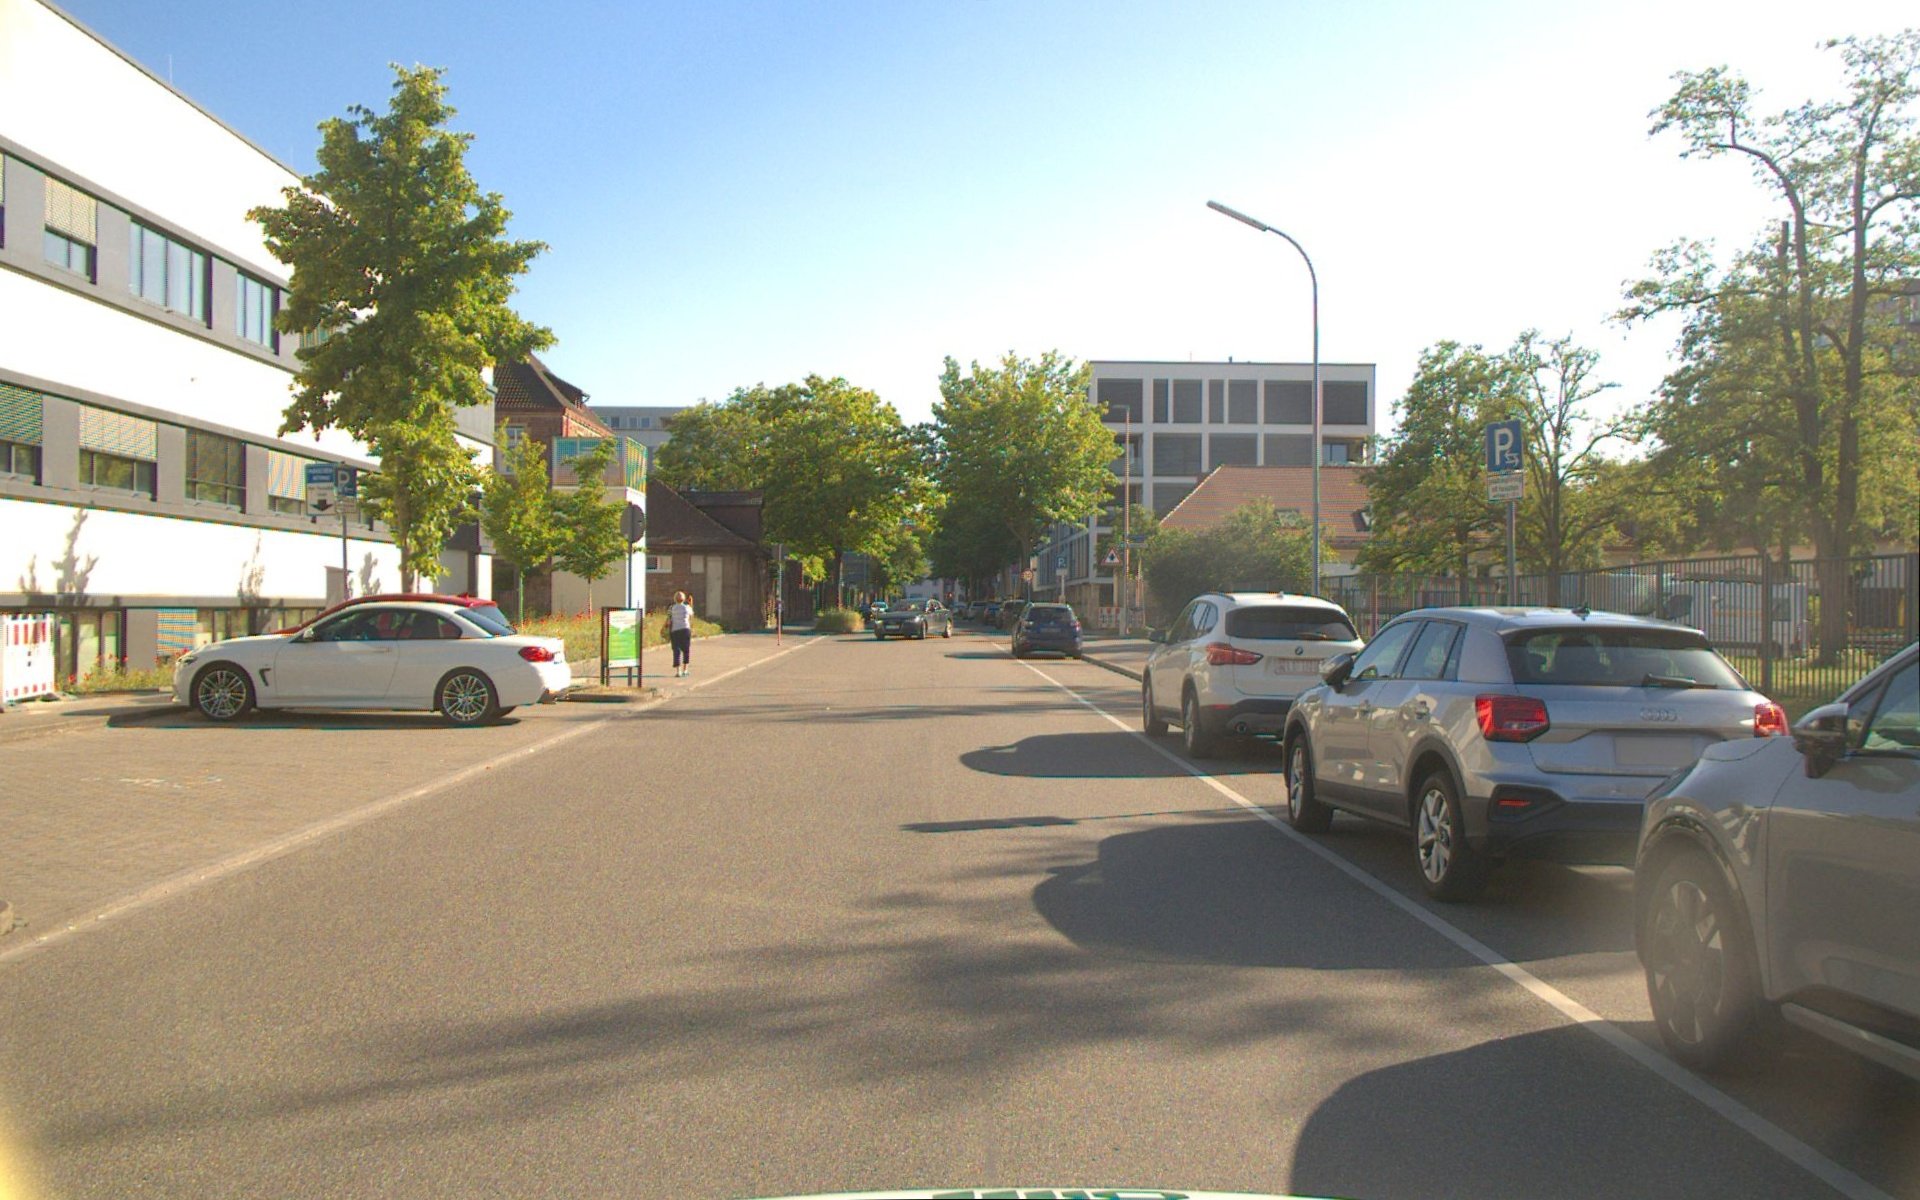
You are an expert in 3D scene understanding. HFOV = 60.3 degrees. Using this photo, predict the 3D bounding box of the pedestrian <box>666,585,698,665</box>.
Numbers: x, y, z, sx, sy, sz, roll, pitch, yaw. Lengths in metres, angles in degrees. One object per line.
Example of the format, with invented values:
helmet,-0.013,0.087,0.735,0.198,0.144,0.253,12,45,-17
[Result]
pedestrian,-5.485,0.485,32.655,0.527,1.550,0.607,0,0,0

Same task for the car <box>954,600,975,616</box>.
car,0.399,0.727,151.519,1.953,1.491,3.836,0,0,0

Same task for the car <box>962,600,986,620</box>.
car,1.165,0.817,135.437,1.910,1.606,3.836,0,0,0

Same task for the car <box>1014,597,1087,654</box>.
car,2.444,0.676,45.485,1.780,1.478,4.214,0,0,0

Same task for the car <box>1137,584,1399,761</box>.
car,3.119,0.674,17.644,1.777,1.616,4.259,2,0,-3

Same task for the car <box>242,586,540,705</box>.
car,-7.752,0.610,22.800,3.565,1.495,1.612,1,0,-6

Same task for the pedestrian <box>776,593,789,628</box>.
pedestrian,-8.162,0.497,76.188,0.511,1.590,1.095,0,0,-2

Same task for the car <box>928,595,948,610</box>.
car,-2.084,0.249,158.898,1.850,1.424,3.836,0,0,0

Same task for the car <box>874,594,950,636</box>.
car,-1.742,0.534,61.142,1.724,1.467,4.541,0,0,13

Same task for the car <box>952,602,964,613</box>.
car,-0.237,0.945,216.479,1.553,1.424,3.836,0,0,0

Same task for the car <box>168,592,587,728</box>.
car,-6.893,0.700,19.959,4.425,1.391,1.697,3,0,-6

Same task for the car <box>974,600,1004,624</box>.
car,1.837,0.762,106.503,1.731,1.465,3.998,0,0,-2

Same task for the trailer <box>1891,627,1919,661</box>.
trailer,28.625,1.302,47.134,1.857,0.936,5.113,0,0,7

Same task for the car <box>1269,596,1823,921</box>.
car,3.197,0.762,9.930,1.667,1.513,3.977,2,0,-4

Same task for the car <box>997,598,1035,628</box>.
car,2.850,0.658,85.321,1.669,1.494,4.787,1,0,-2

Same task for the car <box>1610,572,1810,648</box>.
car,22.820,0.274,50.497,5.173,2.240,2.001,0,1,5

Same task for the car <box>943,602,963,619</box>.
car,-0.688,1.010,156.386,1.731,1.575,4.064,0,0,-2

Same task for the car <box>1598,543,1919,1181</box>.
car,3.309,0.694,4.122,1.666,1.634,4.352,2,0,-1

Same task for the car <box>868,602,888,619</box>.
car,-7.196,0.931,145.955,1.731,1.513,3.998,0,0,-2
